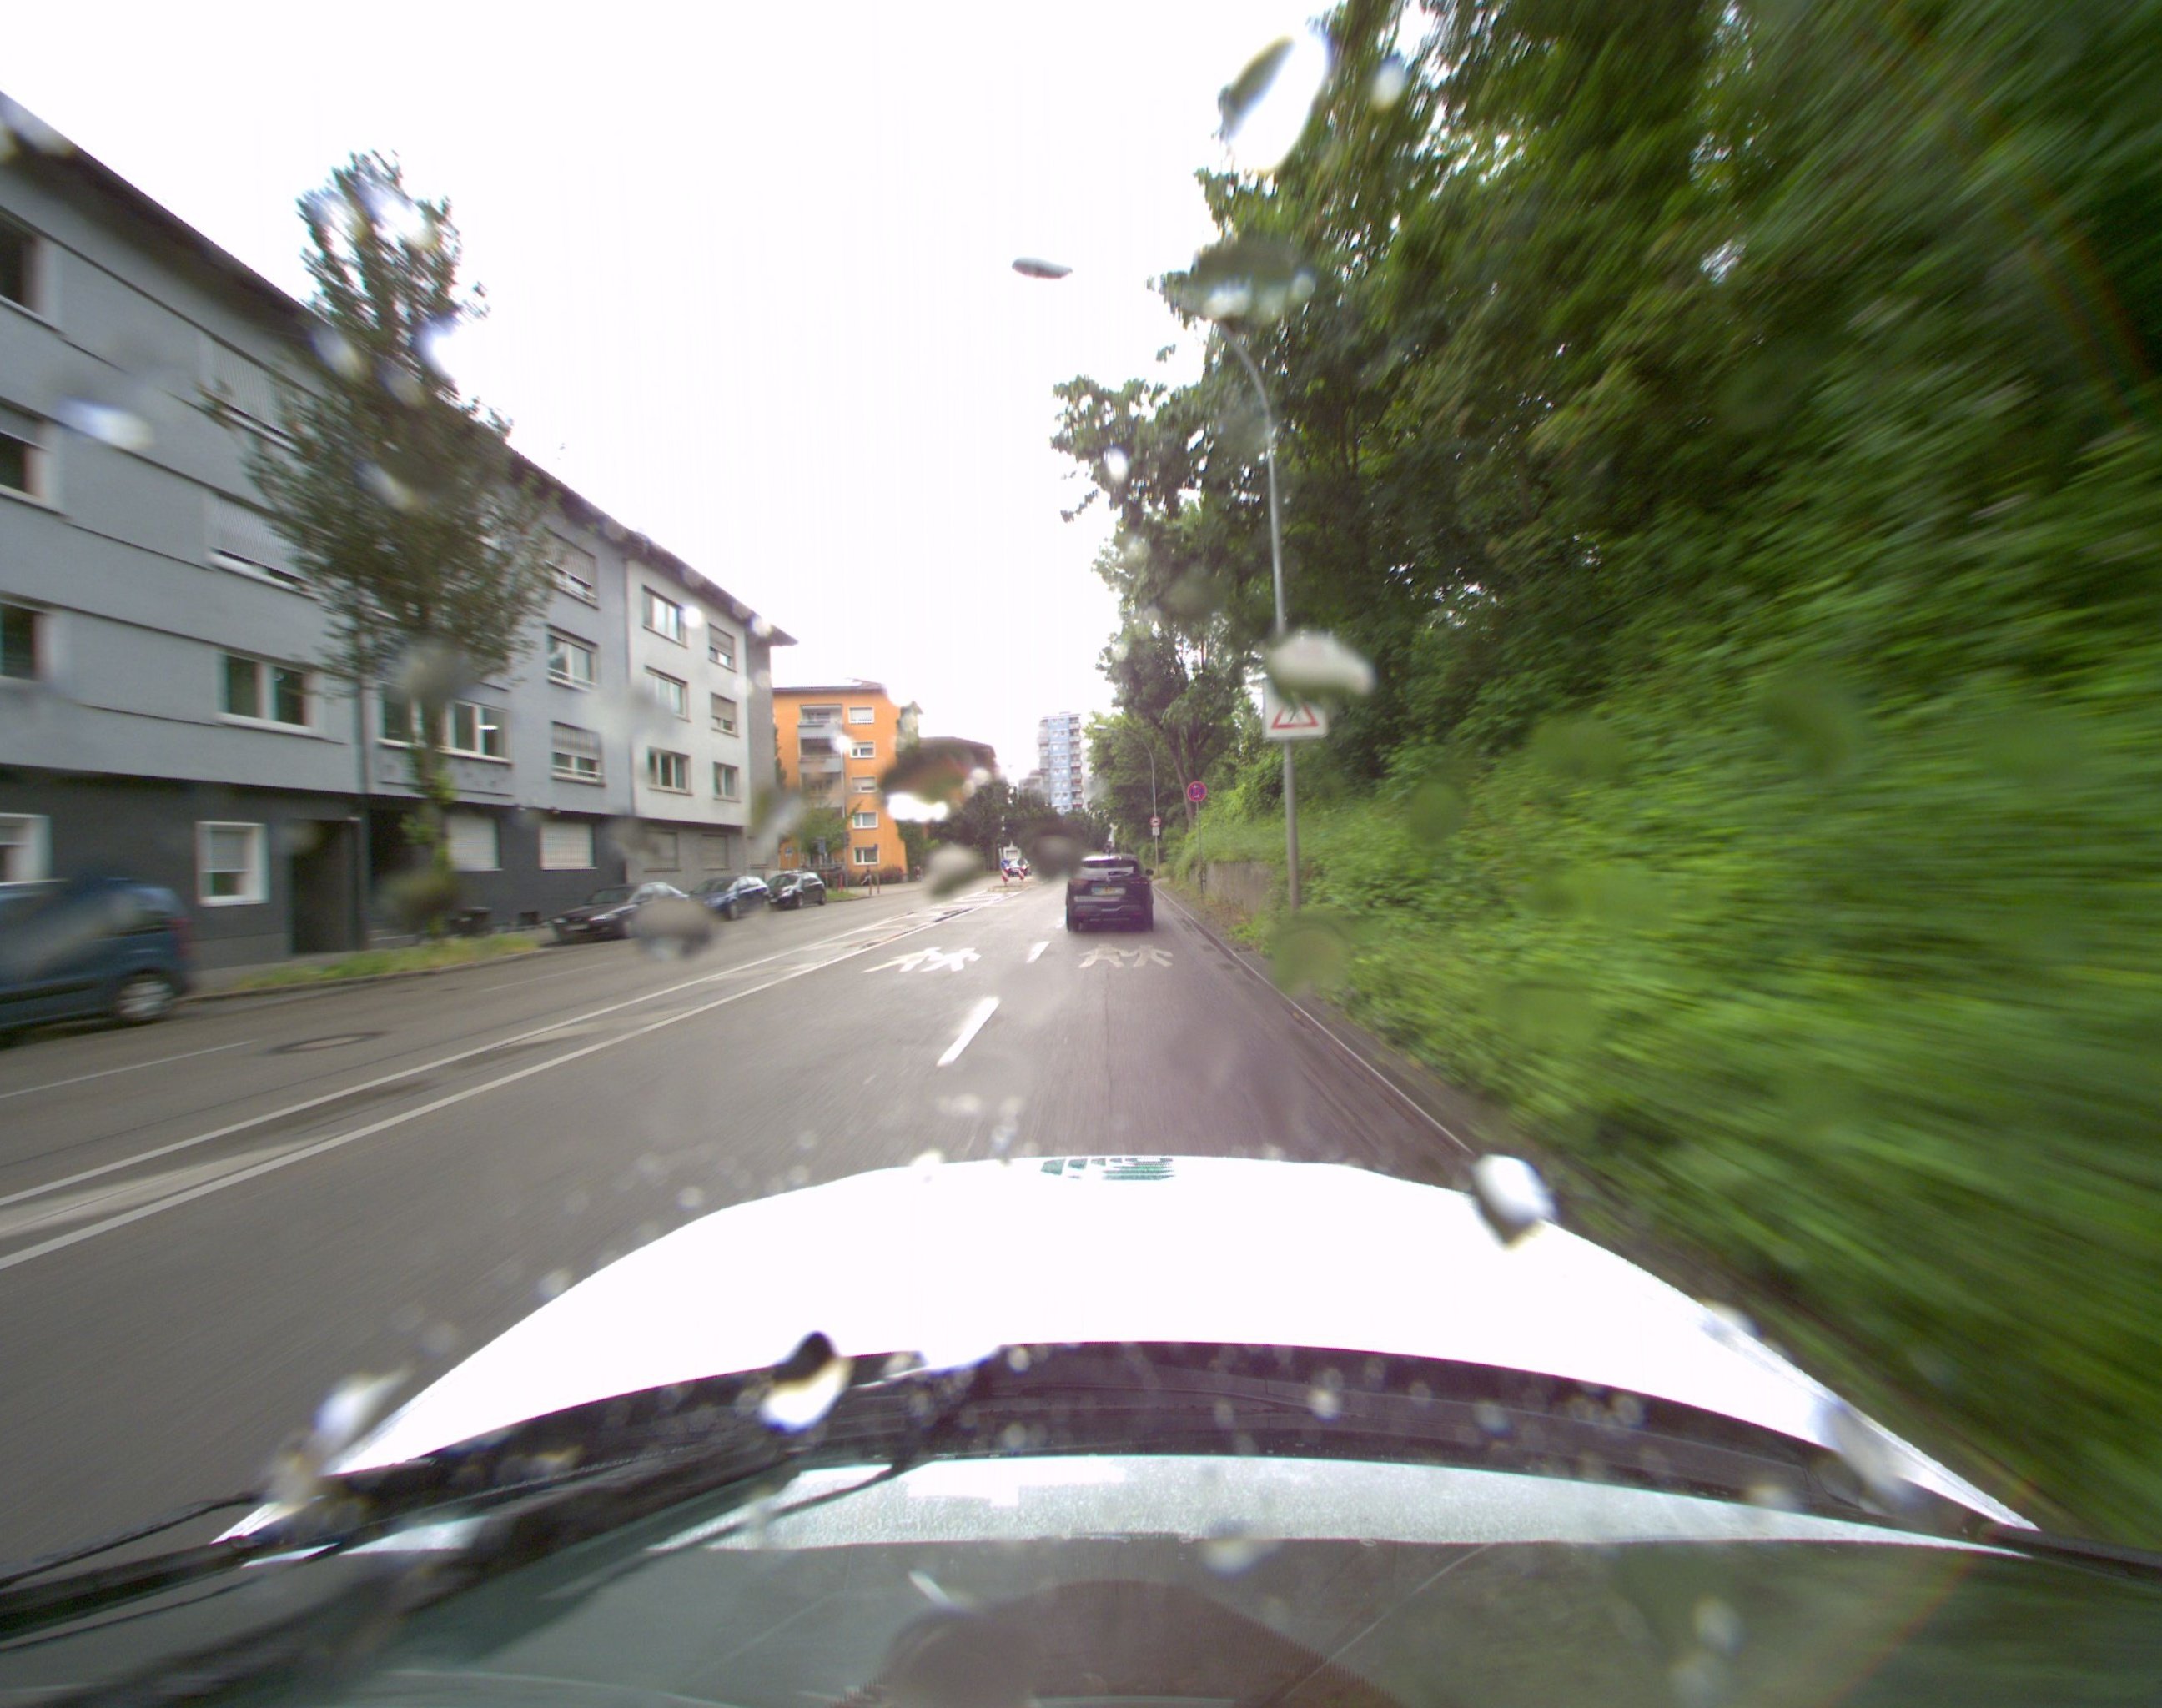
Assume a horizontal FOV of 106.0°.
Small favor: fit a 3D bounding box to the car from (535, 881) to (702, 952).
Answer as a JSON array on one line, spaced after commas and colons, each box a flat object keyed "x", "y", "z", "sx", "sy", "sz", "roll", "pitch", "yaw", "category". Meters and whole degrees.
[{"x": -12.044, "y": 1.558, "z": 21.610, "sx": 1.683, "sy": 1.358, "sz": 4.578, "roll": -6, "pitch": 0, "yaw": 0, "category": "car"}]

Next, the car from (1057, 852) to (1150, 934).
[{"x": 0.474, "y": 0.780, "z": 18.347, "sx": 1.838, "sy": 1.582, "sz": 4.000, "roll": -1, "pitch": 0, "yaw": 0, "category": "car"}]

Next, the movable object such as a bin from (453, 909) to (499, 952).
[{"x": -12.827, "y": 1.619, "z": 17.266, "sx": 0.468, "sy": 0.817, "sz": 0.609, "roll": -4, "pitch": 0, "yaw": -1, "category": "movable object such as a bin"}]

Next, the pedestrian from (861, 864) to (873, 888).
[{"x": -15.372, "y": 1.579, "z": 58.570, "sx": 0.584, "sy": 1.604, "sz": 0.661, "roll": -4, "pitch": 0, "yaw": 2, "category": "pedestrian"}]

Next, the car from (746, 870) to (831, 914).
[{"x": -11.711, "y": 1.486, "z": 32.949, "sx": 1.706, "sy": 1.425, "sz": 4.323, "roll": -5, "pitch": 0, "yaw": 1, "category": "car"}]

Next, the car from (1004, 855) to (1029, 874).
[{"x": -5.600, "y": 0.883, "z": 71.180, "sx": 1.782, "sy": 1.504, "sz": 4.648, "roll": -4, "pitch": 0, "yaw": 0, "category": "car"}]

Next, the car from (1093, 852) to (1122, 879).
[{"x": 1.824, "y": 0.782, "z": 56.932, "sx": 1.880, "sy": 1.711, "sz": 4.001, "roll": -2, "pitch": 0, "yaw": 1, "category": "car"}]

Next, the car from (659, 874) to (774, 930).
[{"x": -11.871, "y": 1.503, "z": 26.834, "sx": 1.675, "sy": 1.449, "sz": 4.276, "roll": -5, "pitch": 0, "yaw": 1, "category": "car"}]

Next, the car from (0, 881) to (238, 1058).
[{"x": -12.242, "y": 1.307, "z": 8.532, "sx": 1.884, "sy": 1.766, "sz": 4.600, "roll": -4, "pitch": 0, "yaw": 0, "category": "car"}]

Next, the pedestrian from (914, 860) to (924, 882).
[{"x": -12.681, "y": 1.353, "z": 63.860, "sx": 0.607, "sy": 1.674, "sz": 0.594, "roll": -3, "pitch": 0, "yaw": -2, "category": "pedestrian"}]

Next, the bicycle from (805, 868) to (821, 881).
[{"x": -18.092, "y": 1.383, "z": 54.943, "sx": 0.462, "sy": 0.749, "sz": 1.548, "roll": -4, "pitch": 0, "yaw": 3, "category": "bicycle"}]
